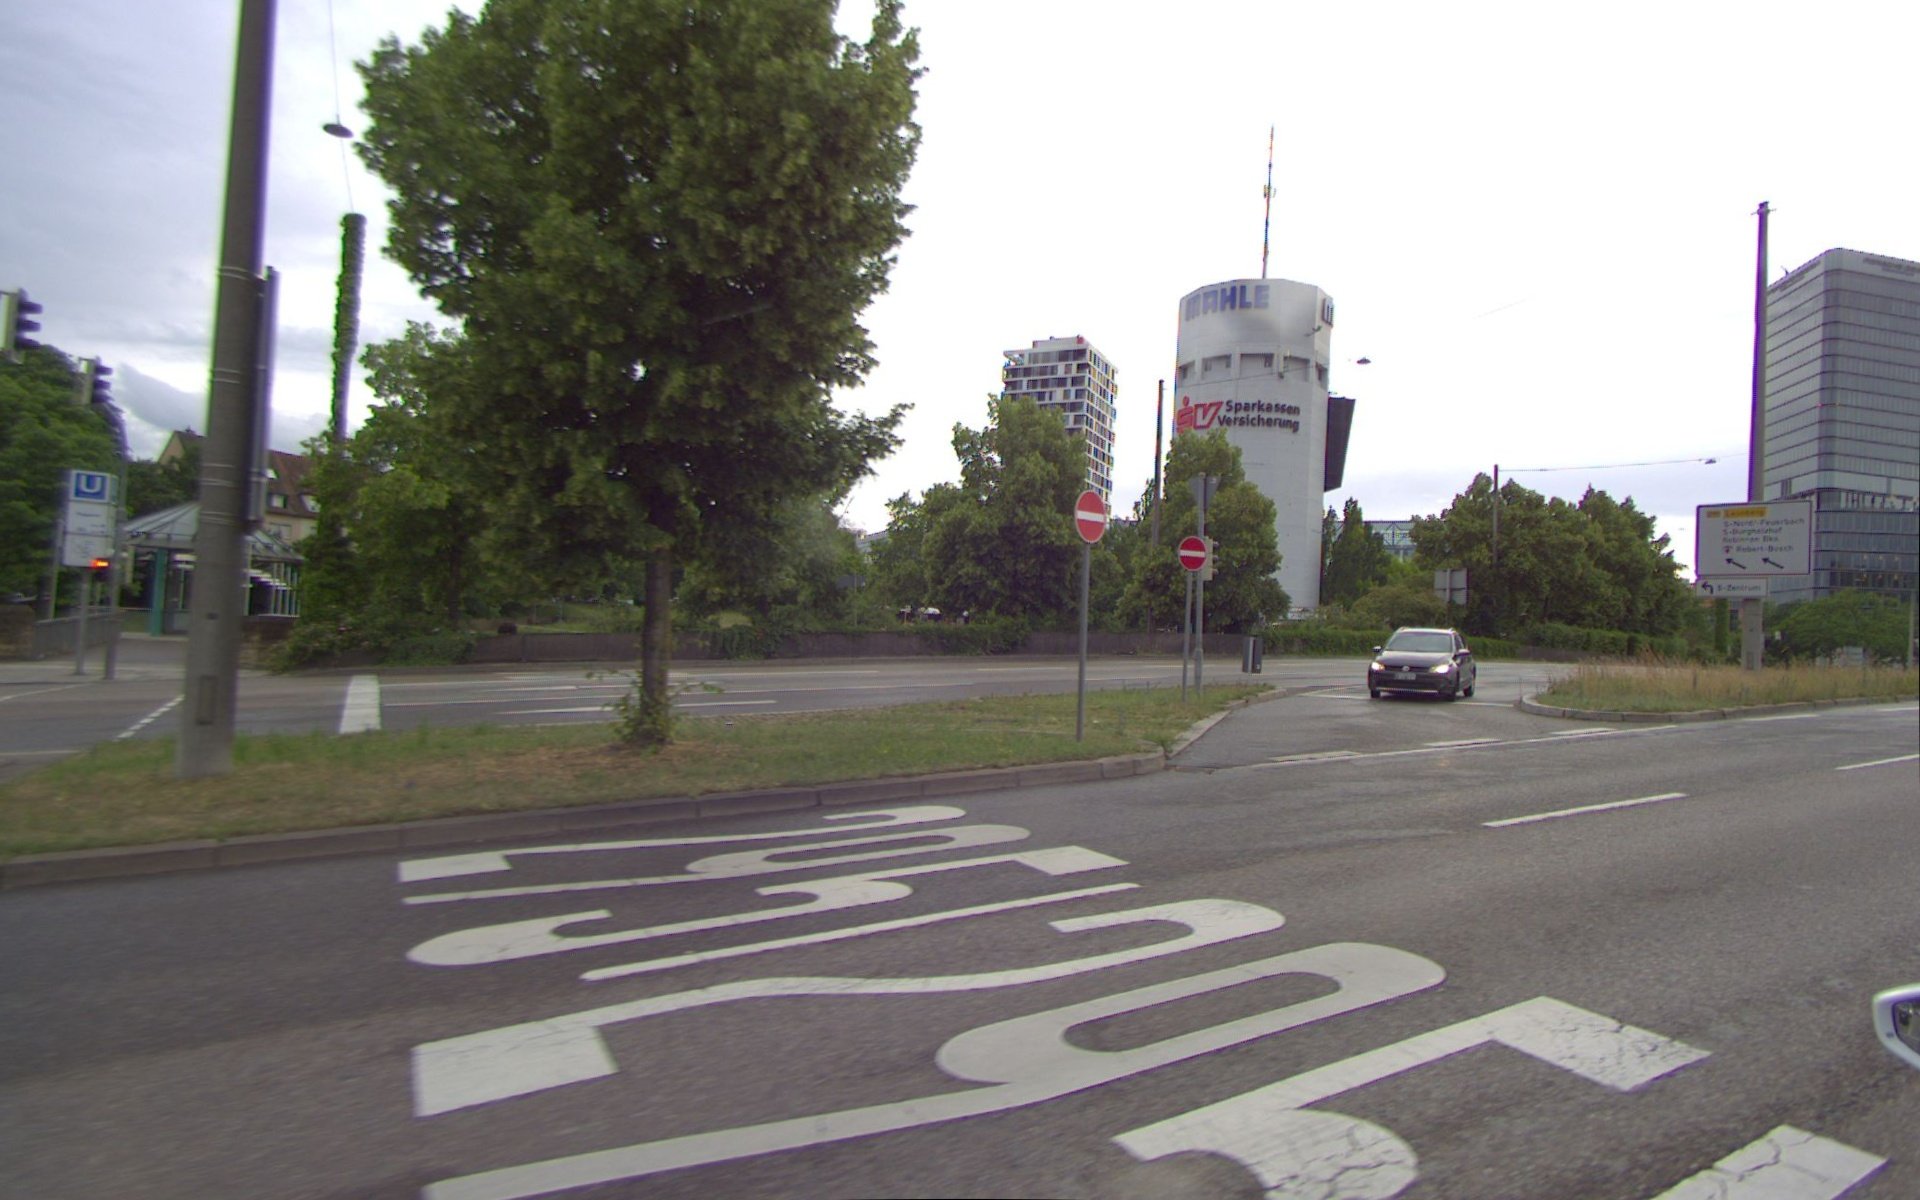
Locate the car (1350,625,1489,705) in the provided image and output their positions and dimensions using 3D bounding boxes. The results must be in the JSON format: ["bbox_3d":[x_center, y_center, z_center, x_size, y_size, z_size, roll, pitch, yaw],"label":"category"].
[{"bbox_3d":[9.829,1.295,21.335,1.866,1.527,3.984,-1,-2,37],"label":"car"}]
